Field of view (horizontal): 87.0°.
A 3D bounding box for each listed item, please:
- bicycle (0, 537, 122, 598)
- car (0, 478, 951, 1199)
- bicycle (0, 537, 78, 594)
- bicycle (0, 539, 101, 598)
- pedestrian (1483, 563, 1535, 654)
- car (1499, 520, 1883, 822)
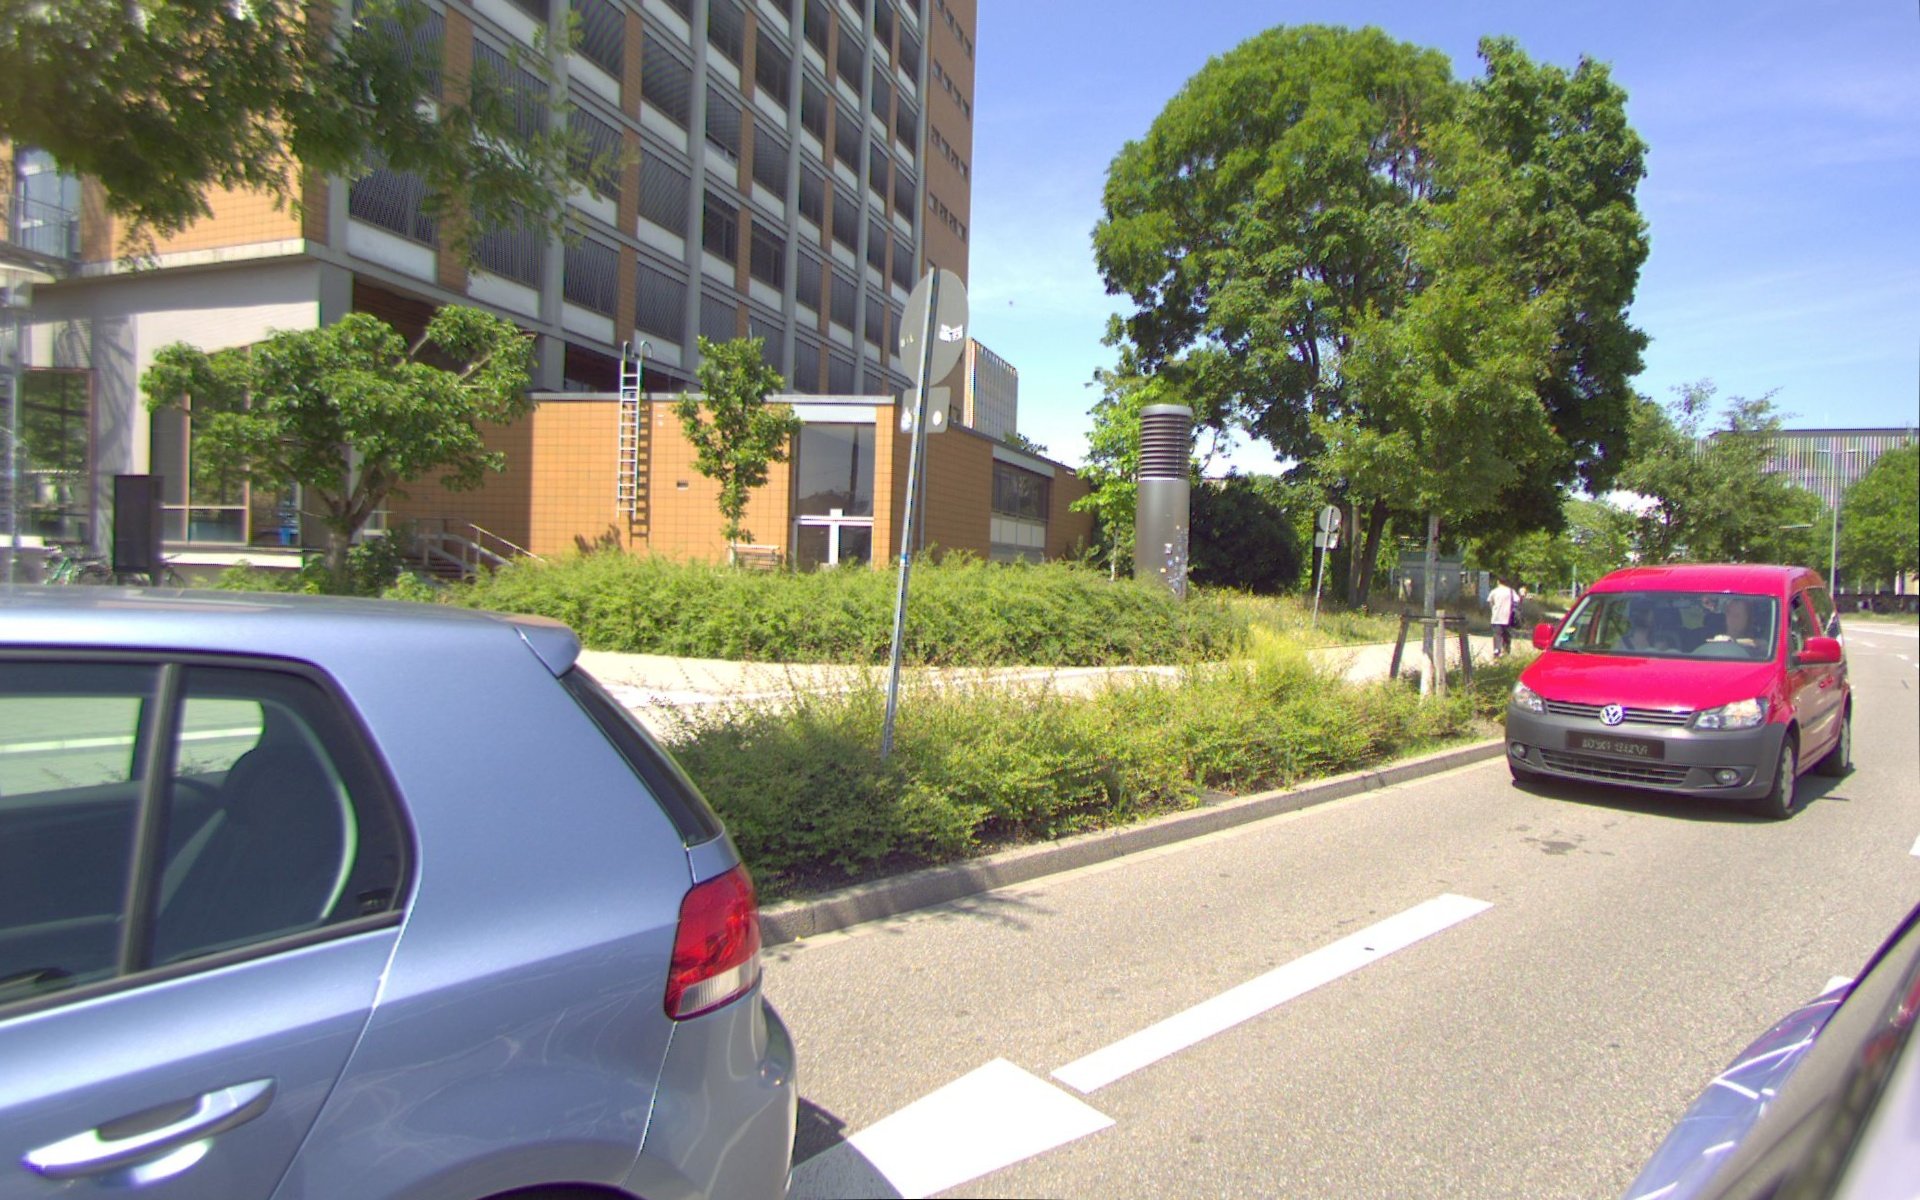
[{"bbox_3d":[-19.323,-0.679,21.579,0.629,1.233,2.201,0,0,22],"label":"bicycle"},{"bbox_3d":[-2.019,0.605,1.173,3.935,1.477,1.653,0,0,-43],"label":"car"},{"bbox_3d":[-20.796,-0.741,22.152,0.630,1.233,2.201,0,0,22],"label":"bicycle"},{"bbox_3d":[-20.061,-0.672,21.913,0.629,1.233,2.201,0,0,22],"label":"bicycle"},{"bbox_3d":[11.256,0.163,20.750,0.603,1.820,0.728,1,1,-40],"label":"pedestrian"},{"bbox_3d":[6.239,0.431,8.409,4.467,1.882,1.654,0,1,-42],"label":"car"}]
